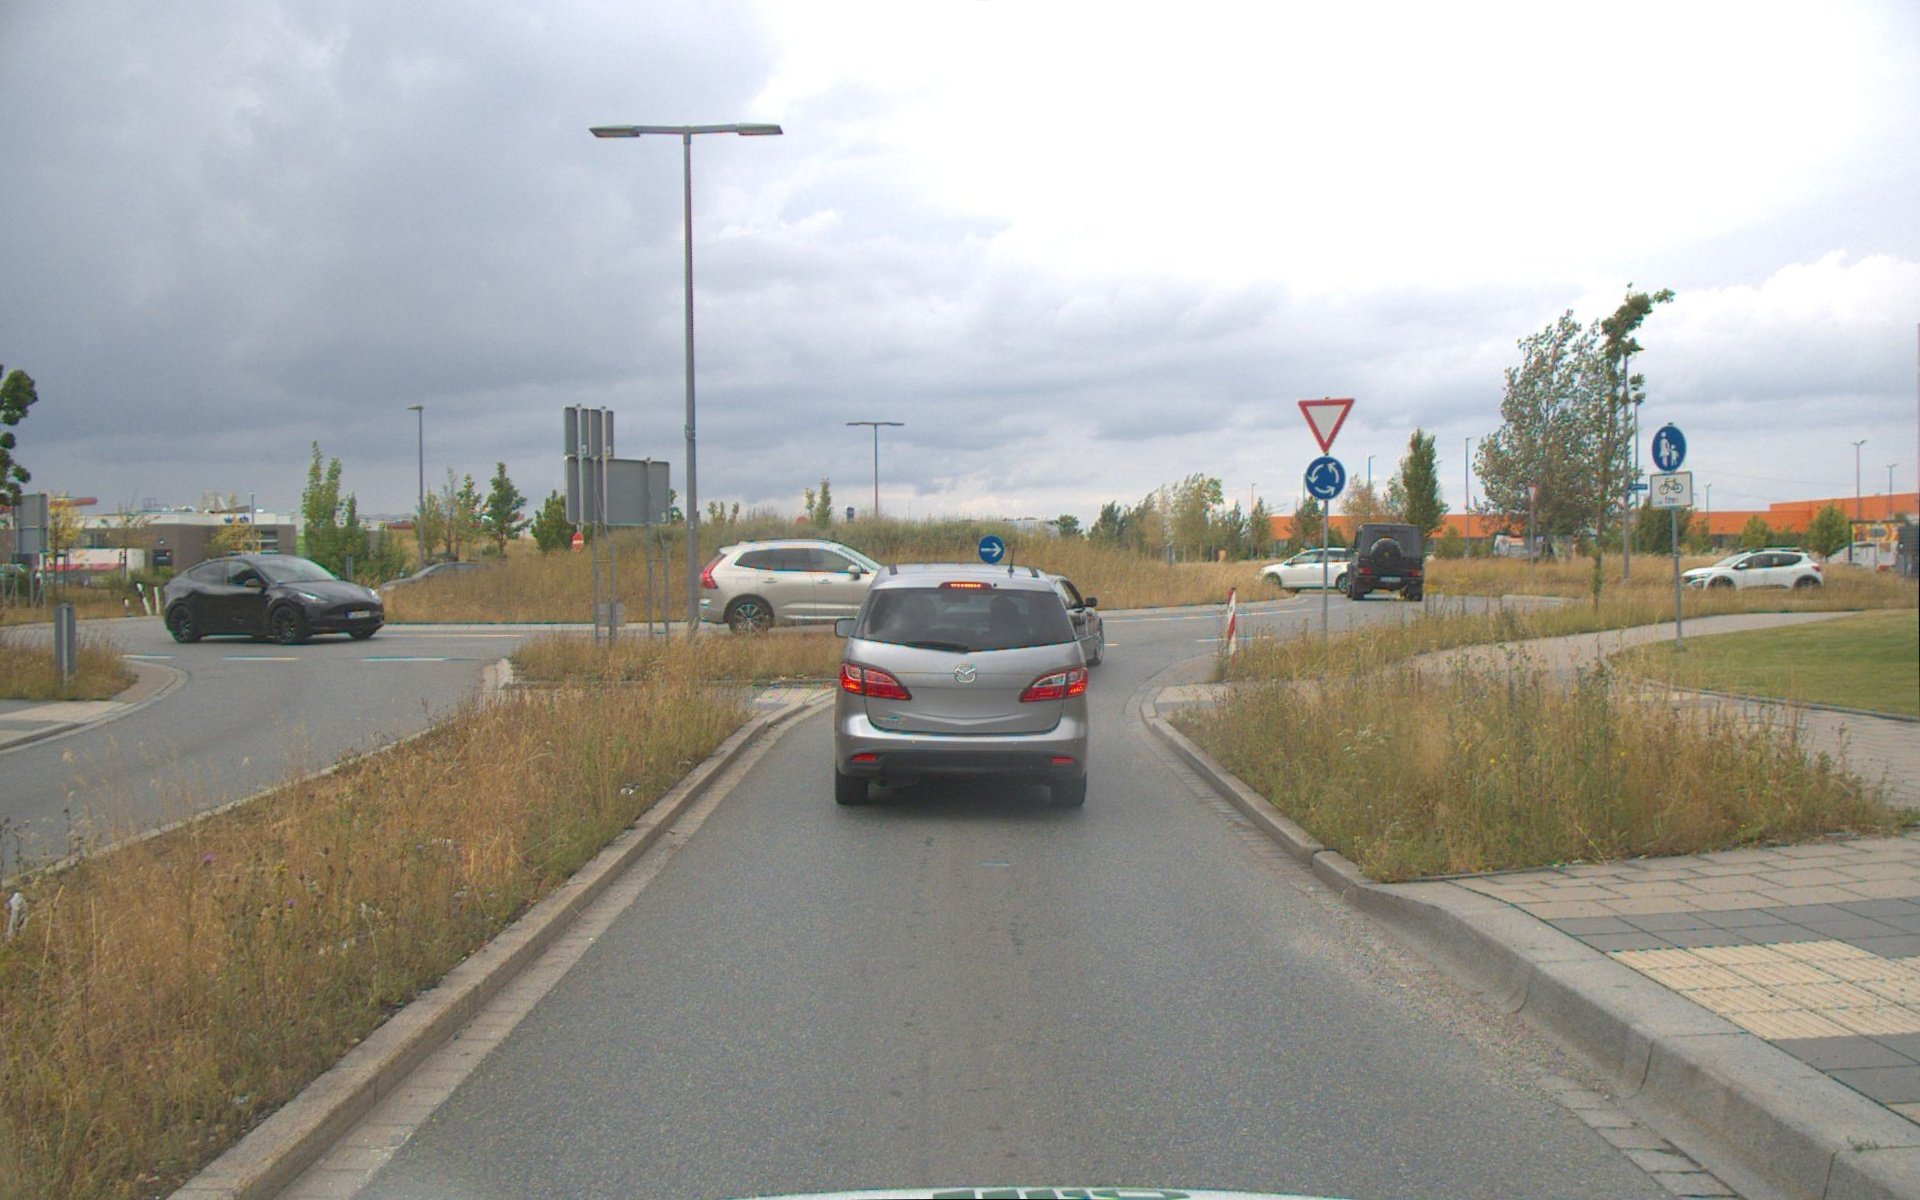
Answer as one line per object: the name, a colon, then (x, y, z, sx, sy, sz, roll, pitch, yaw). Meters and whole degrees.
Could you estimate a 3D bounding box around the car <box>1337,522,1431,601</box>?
car: (11.284, -1.091, 44.287, 2.033, 1.919, 4.780, -1, 3, 10)

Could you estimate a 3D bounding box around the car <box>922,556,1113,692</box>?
car: (0.854, 0.227, 21.696, 1.701, 1.427, 4.002, 1, 4, 14)

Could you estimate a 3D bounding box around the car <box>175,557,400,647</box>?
car: (-12.839, -0.014, 31.465, 4.685, 1.524, 1.935, 1, 4, 39)

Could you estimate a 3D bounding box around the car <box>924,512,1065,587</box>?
car: (1.262, -1.837, 60.379, 4.663, 2.588, 2.084, 0, 3, 24)

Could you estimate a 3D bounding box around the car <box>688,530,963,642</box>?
car: (-2.347, -0.279, 29.390, 4.665, 1.768, 1.944, -2, 3, -4)

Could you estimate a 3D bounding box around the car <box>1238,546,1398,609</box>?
car: (11.723, -0.767, 54.258, 4.678, 1.919, 2.078, 1, 4, 36)

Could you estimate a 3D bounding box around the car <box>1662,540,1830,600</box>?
car: (23.899, -0.930, 50.368, 4.237, 1.676, 1.871, -1, 3, 1)

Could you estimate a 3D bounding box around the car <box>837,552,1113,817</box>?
car: (0.045, 0.477, 12.350, 1.703, 1.626, 3.997, 1, 2, -2)
